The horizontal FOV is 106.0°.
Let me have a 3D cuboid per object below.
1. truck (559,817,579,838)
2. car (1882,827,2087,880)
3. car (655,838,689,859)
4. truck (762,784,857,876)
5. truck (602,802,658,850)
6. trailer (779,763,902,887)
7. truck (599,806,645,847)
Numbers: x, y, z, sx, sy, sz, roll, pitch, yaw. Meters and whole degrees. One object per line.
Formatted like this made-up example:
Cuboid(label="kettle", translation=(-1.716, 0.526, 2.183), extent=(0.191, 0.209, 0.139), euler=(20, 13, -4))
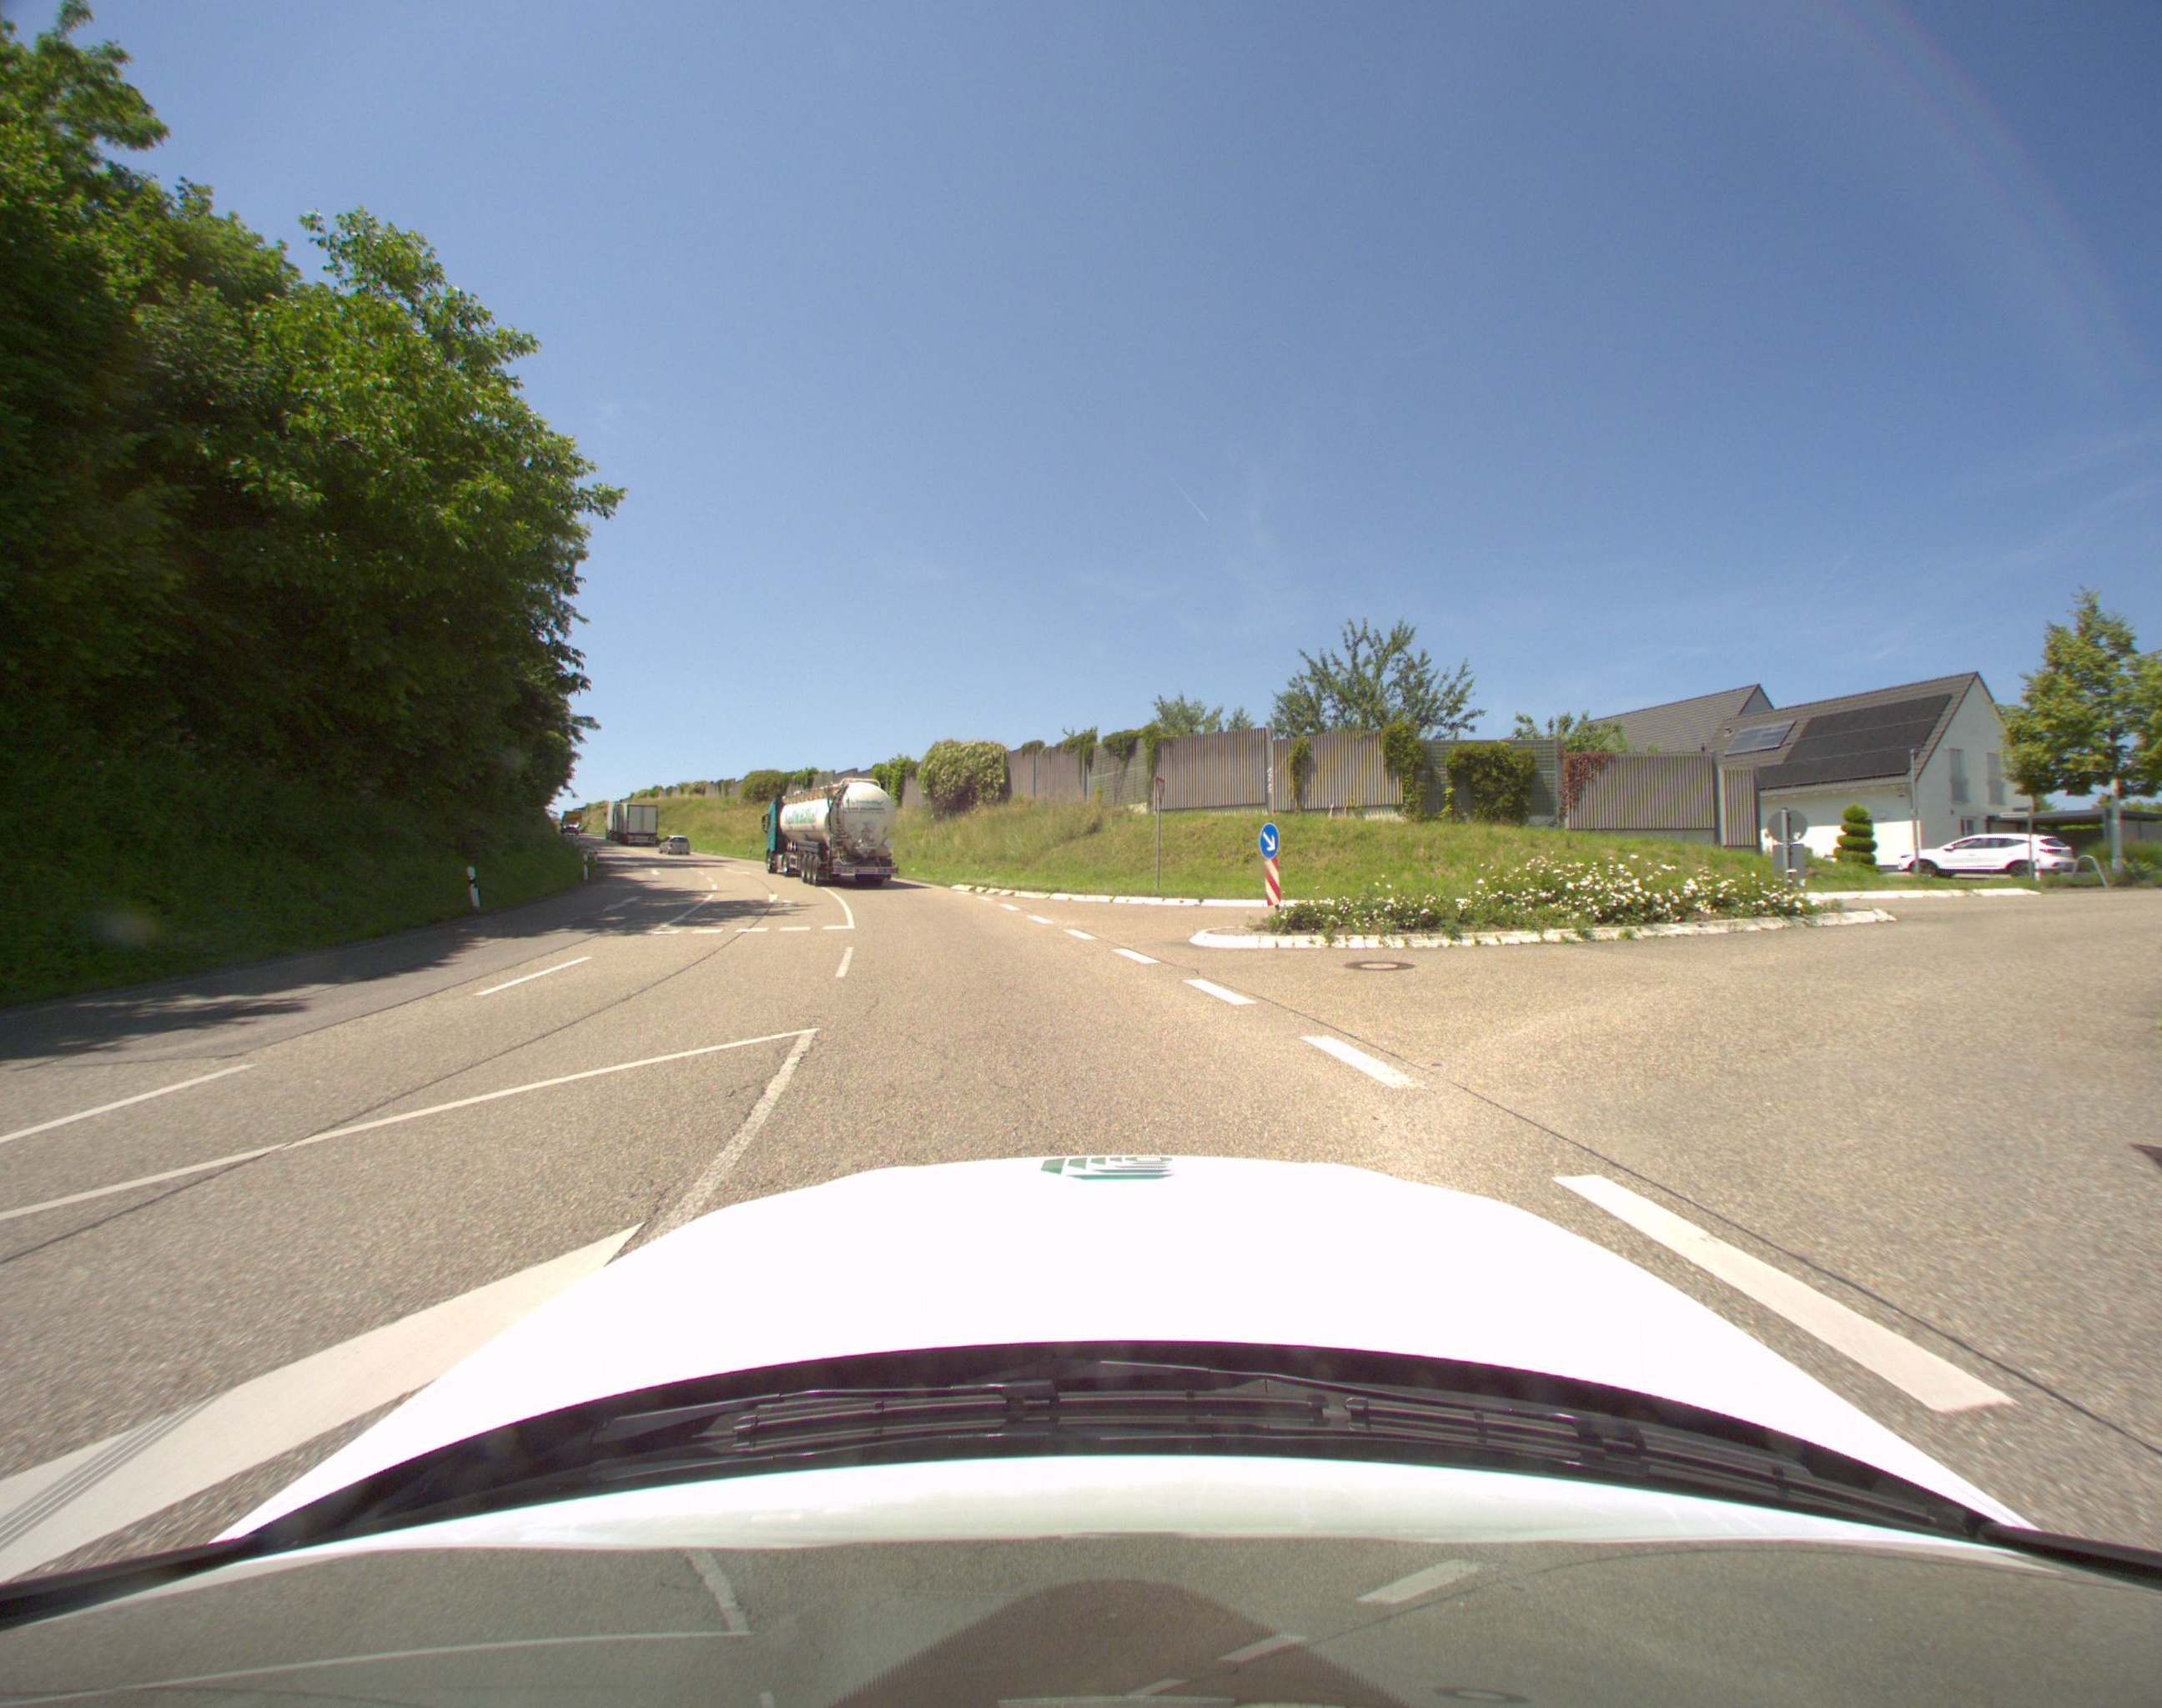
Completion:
Cuboid(label="truck", translation=(-71.966, -3.711, 114.476), extent=(2.067, 2.687, 5.918), euler=(5, -3, -33))
Cuboid(label="car", translation=(32.959, -0.064, 29.903), extent=(2.001, 1.655, 4.573), euler=(4, 0, -21))
Cuboid(label="car", translation=(-33.270, -0.471, 66.198), extent=(1.661, 1.509, 3.597), euler=(4, -1, -39))
Cuboid(label="truck", translation=(-12.969, -1.105, 38.513), extent=(2.745, 3.929, 7.193), euler=(0, 1, -31))
Cuboid(label="truck", translation=(-45.355, -2.893, 81.727), extent=(3.214, 4.309, 11.672), euler=(4, 0, -36))
Cuboid(label="trailer", translation=(-10.233, -1.099, 33.458), extent=(2.676, 4.188, 11.799), euler=(0, 1, -27))
Cuboid(label="truck", translation=(-48.779, -2.904, 86.374), extent=(3.214, 3.933, 8.162), euler=(2, 0, -36))
